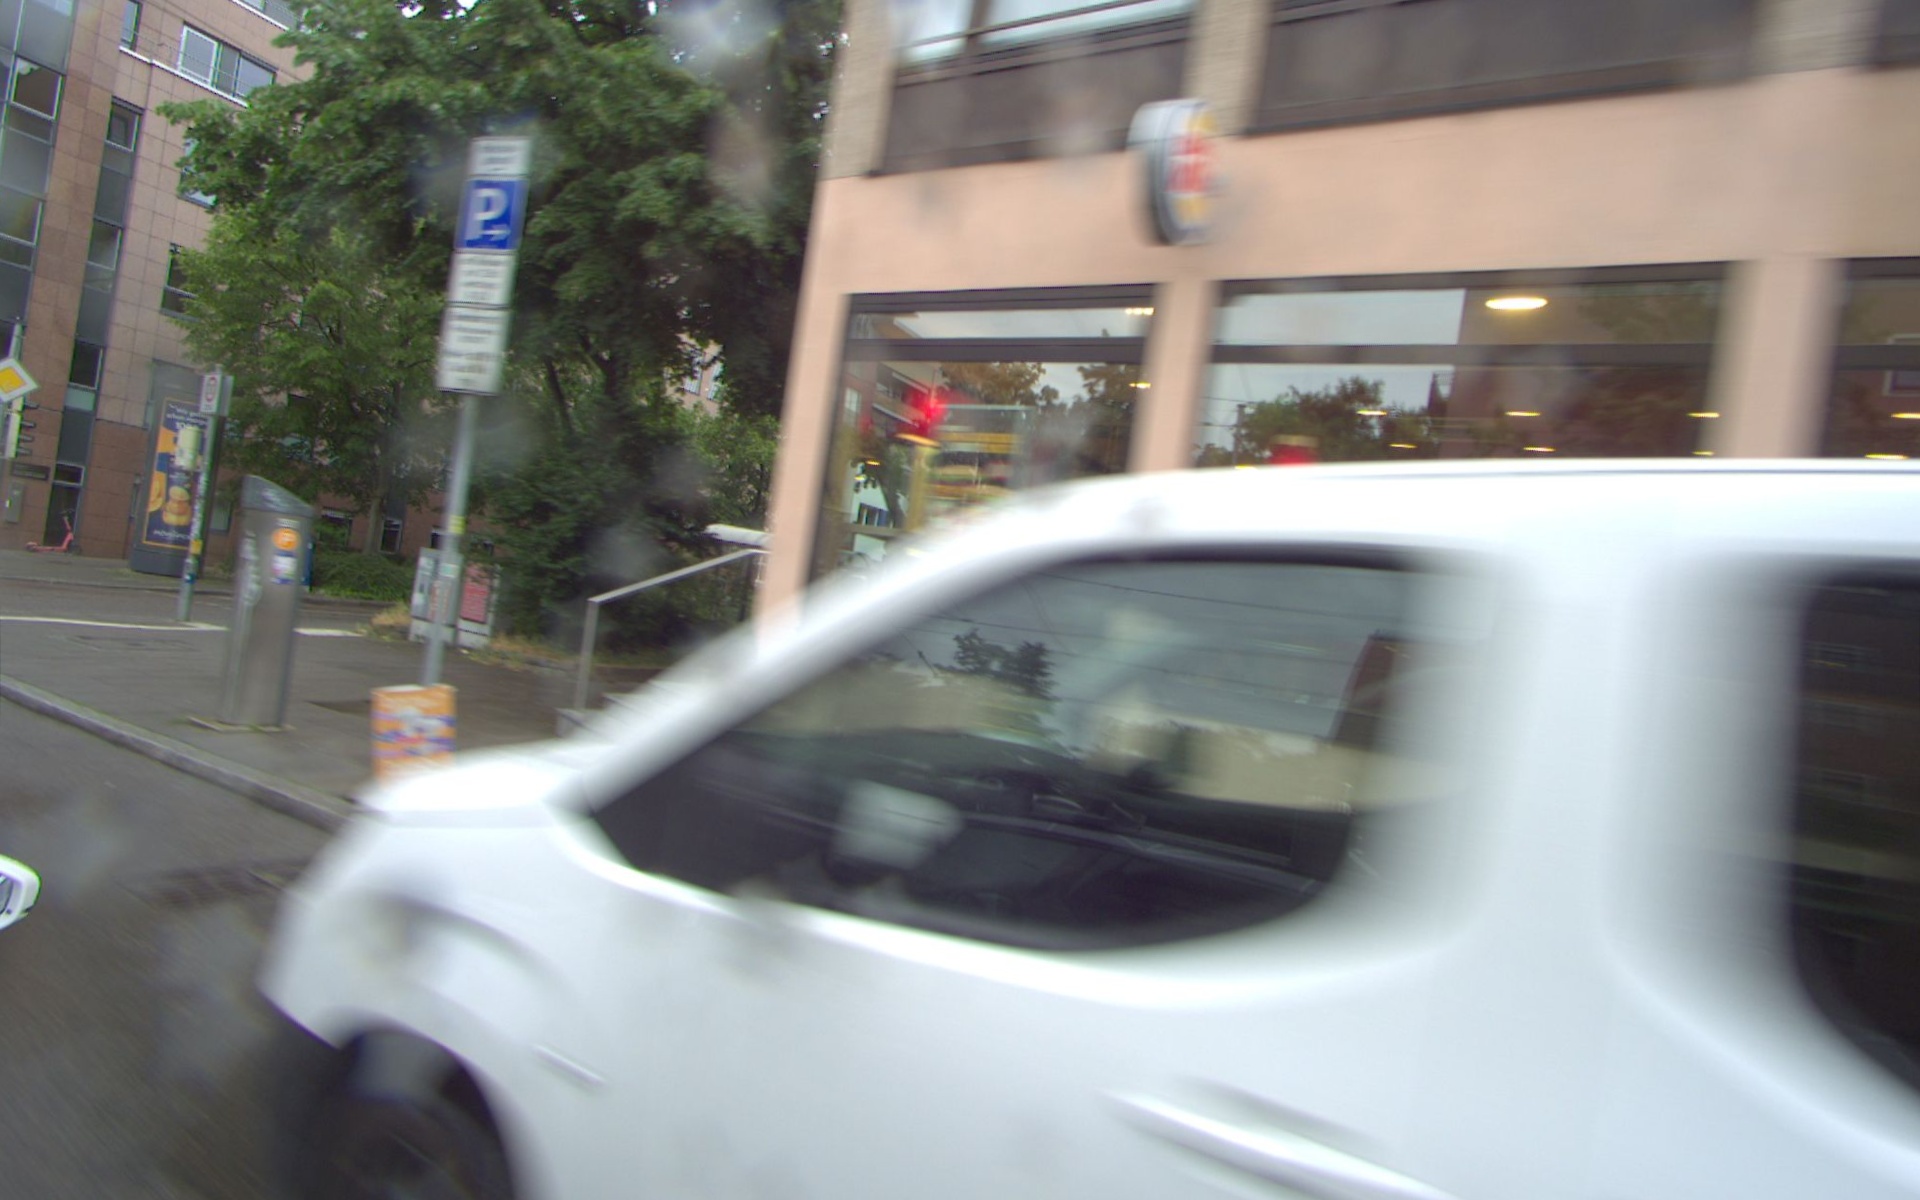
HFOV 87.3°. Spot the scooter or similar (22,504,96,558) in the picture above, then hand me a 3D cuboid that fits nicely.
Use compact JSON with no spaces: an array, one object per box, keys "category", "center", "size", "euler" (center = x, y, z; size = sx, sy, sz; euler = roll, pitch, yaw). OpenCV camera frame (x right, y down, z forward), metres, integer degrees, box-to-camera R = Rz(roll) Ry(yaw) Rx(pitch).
[{"category":"scooter or similar","center":[-24.366,-1.851,27.222],"size":[0.320,1.242,1.375],"euler":[7,-1,34]}]

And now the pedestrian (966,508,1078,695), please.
[{"category":"pedestrian","center":[0.588,0.018,9.673],"size":[0.715,1.669,0.623],"euler":[6,0,-19]}]

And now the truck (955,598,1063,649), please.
[{"category":"truck","center":[2.940,1.411,61.226],"size":[5.982,2.305,2.262],"euler":[7,0,30]}]

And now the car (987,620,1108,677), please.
[{"category":"car","center":[3.075,1.711,35.679],"size":[3.805,1.479,1.676],"euler":[7,0,30]}]

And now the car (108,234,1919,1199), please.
[{"category":"car","center":[0.919,0.706,1.646],"size":[4.695,1.828,1.911],"euler":[6,-1,29]}]

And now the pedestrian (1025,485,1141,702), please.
[{"category":"pedestrian","center":[1.106,-0.048,9.138],"size":[0.657,1.842,0.594],"euler":[6,0,-19]}]
